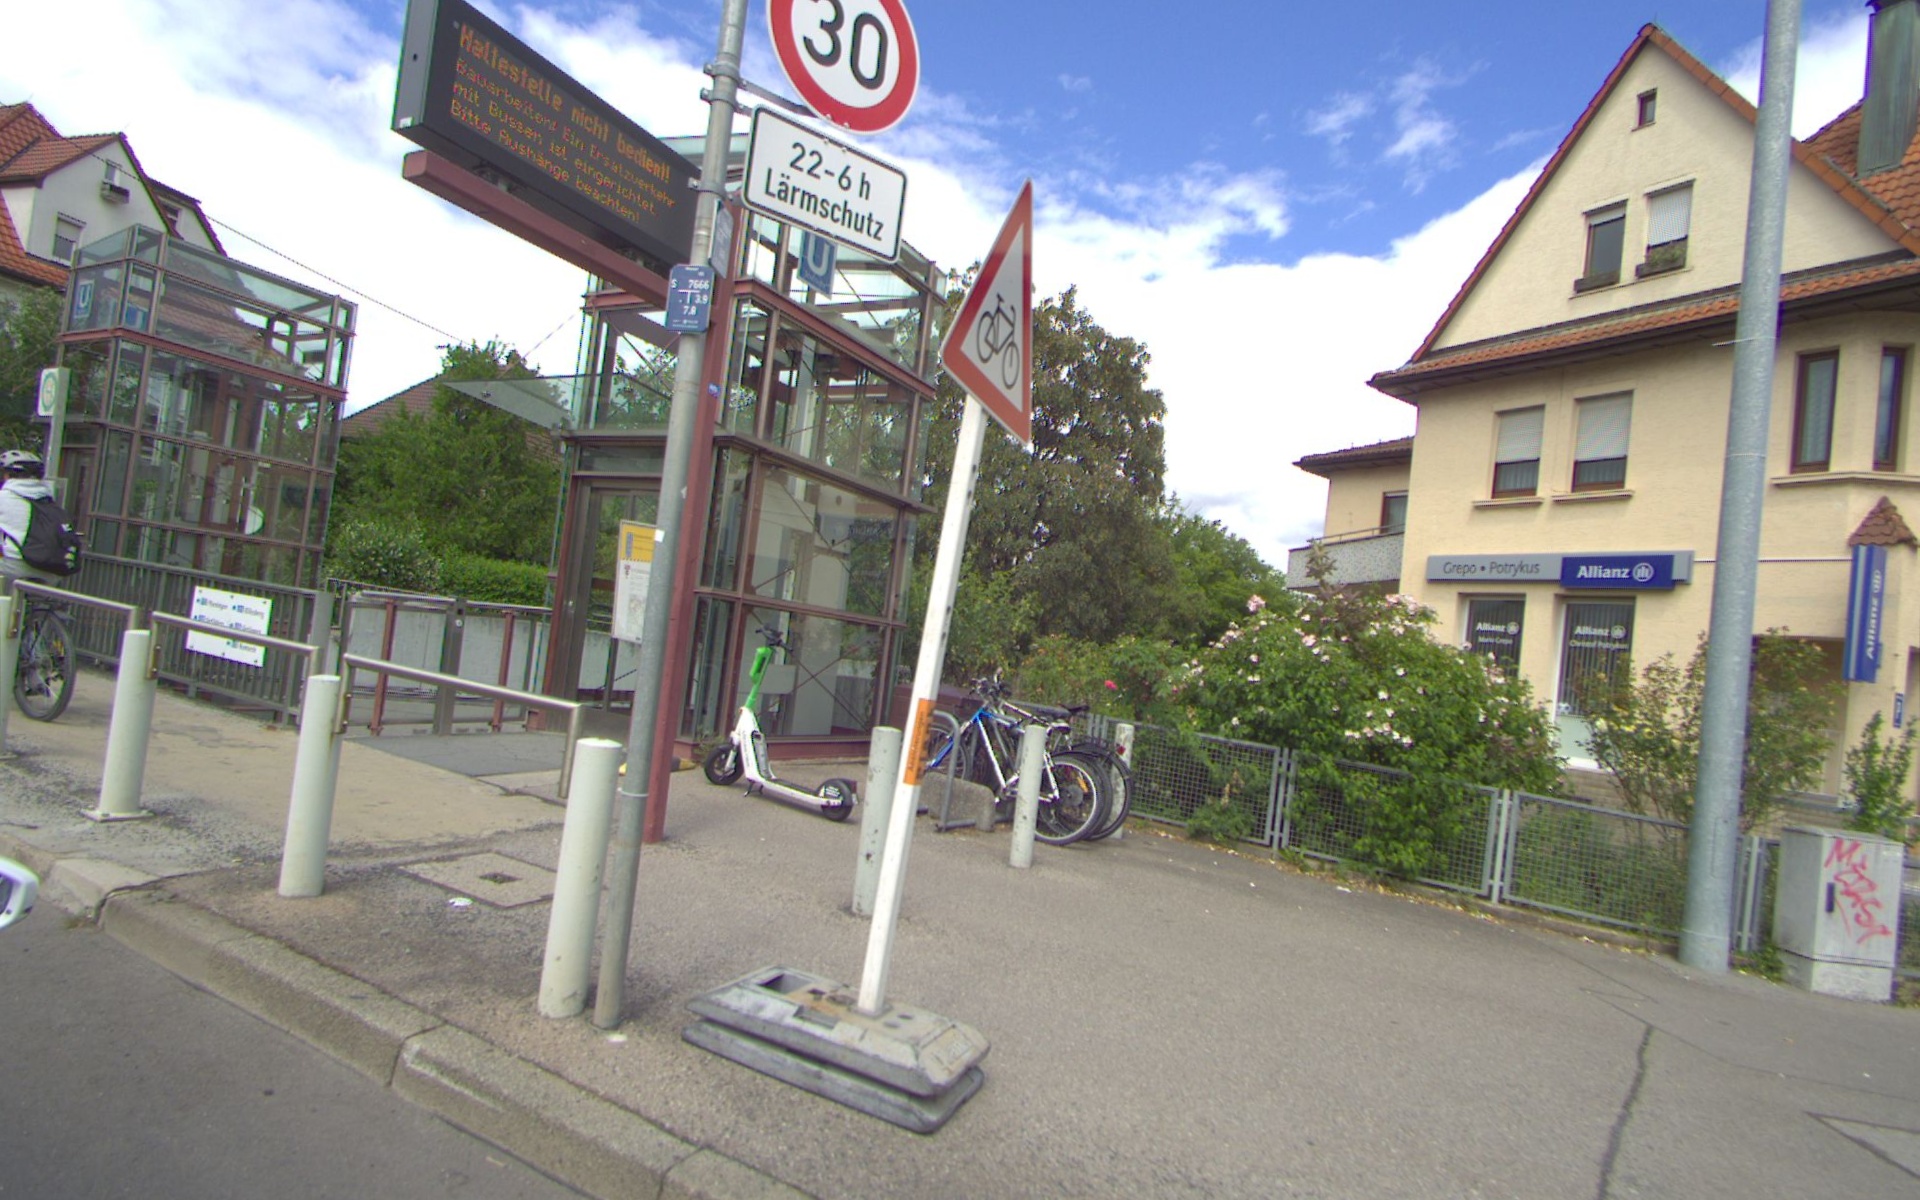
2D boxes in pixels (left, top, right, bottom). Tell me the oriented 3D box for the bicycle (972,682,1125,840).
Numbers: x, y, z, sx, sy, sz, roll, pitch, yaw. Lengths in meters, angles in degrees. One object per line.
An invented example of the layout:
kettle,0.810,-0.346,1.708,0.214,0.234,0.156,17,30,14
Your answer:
bicycle,0.675,1.238,7.933,1.172,1.021,0.215,6,-1,39

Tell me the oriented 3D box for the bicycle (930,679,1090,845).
bicycle,0.352,1.175,7.515,1.189,1.013,0.215,6,-1,39

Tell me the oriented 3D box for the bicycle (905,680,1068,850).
bicycle,0.167,1.161,7.285,1.186,1.001,0.215,6,-1,39

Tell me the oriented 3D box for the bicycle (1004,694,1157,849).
bicycle,0.946,1.344,8.088,1.172,1.021,0.215,6,-1,39

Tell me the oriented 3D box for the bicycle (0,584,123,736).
bicycle,-6.338,0.328,6.527,2.027,0.762,0.637,7,-2,29

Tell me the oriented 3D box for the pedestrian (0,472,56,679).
pedestrian,-7.816,-0.226,7.969,0.394,1.596,0.601,5,-8,28

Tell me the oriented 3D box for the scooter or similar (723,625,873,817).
scooter or similar,-1.129,0.811,6.937,0.930,1.125,0.216,10,1,30

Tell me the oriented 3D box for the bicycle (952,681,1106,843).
bicycle,0.508,1.213,7.728,1.152,1.026,0.215,6,-1,39

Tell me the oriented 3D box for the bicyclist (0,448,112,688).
bicyclist,-6.228,-0.238,6.477,1.158,1.432,0.658,7,-1,29
